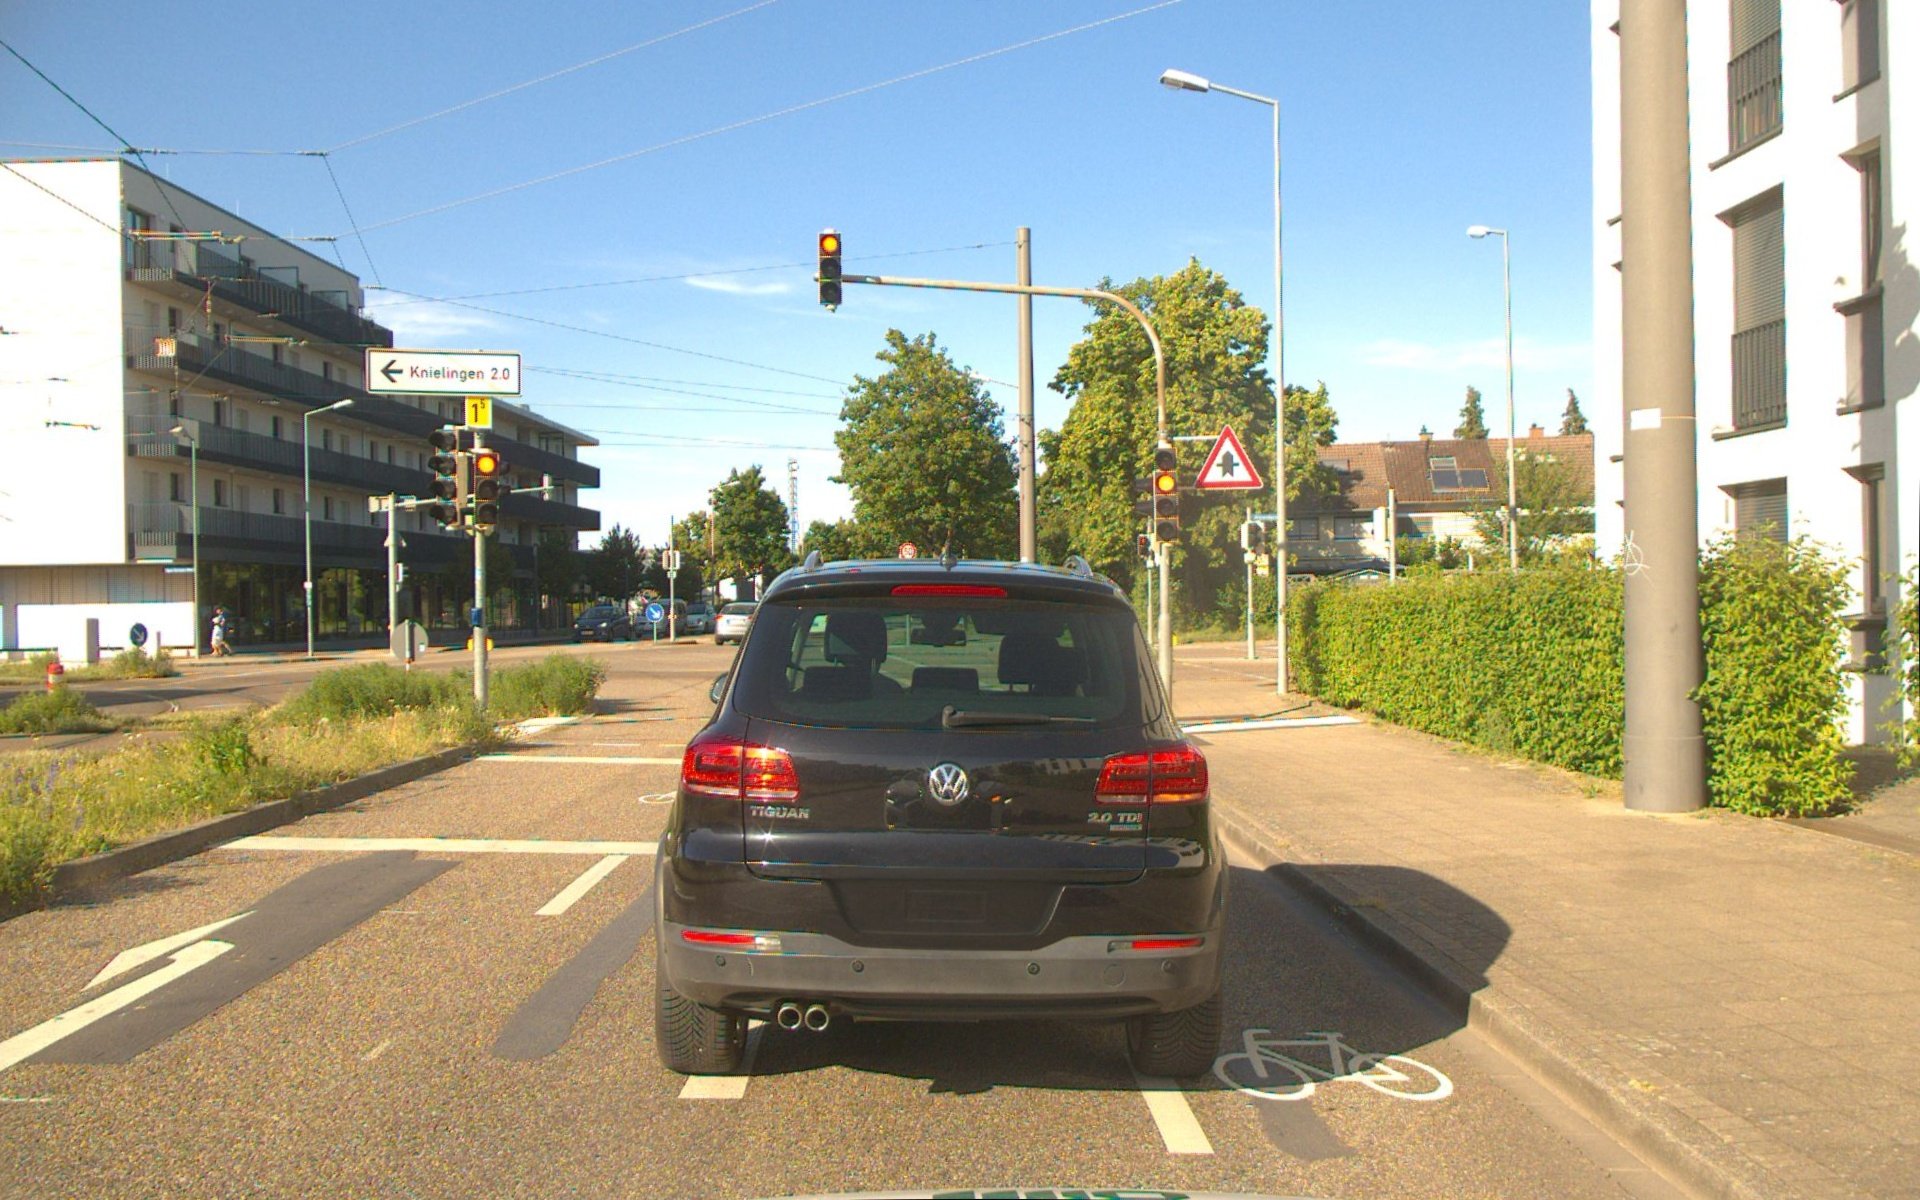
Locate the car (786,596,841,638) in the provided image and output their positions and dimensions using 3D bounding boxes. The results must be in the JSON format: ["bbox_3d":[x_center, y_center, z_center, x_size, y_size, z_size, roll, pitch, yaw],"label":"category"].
[{"bbox_3d":[-6.494,0.733,73.525,1.824,1.750,3.689,-1,0,5],"label":"car"}]

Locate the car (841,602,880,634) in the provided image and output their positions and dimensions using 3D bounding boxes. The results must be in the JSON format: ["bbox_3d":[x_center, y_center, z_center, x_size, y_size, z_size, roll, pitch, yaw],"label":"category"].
[{"bbox_3d":[-5.936,1.072,99.128,1.952,1.869,4.001,1,0,2],"label":"car"}]

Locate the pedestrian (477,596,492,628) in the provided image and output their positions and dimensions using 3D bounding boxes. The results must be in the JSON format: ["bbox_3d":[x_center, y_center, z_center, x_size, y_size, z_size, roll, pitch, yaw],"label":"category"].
[{"bbox_3d":[-23.363,0.601,81.279,0.631,1.535,0.594,1,-1,-10],"label":"pedestrian"}]

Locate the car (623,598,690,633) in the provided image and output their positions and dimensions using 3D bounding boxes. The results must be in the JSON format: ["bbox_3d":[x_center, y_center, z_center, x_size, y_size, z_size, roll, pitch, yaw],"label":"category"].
[{"bbox_3d":[-14.515,0.725,79.324,1.951,1.601,4.342,1,0,7],"label":"car"}]

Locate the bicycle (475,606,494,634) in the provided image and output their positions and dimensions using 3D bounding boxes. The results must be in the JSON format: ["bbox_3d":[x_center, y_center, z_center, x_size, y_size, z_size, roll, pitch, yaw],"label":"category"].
[{"bbox_3d":[-23.346,0.963,81.224,0.618,1.355,1.908,1,0,-9],"label":"bicycle"}]

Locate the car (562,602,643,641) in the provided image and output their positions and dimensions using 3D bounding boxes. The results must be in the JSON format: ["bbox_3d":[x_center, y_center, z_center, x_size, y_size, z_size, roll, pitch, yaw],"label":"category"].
[{"bbox_3d":[-15.343,0.921,71.178,1.951,1.601,4.343,1,0,9],"label":"car"}]

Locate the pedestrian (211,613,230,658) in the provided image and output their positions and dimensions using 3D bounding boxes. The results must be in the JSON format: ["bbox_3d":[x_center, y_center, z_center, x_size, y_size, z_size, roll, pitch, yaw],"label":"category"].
[{"bbox_3d":[-25.271,1.198,56.516,0.433,1.529,0.517,1,-1,-6],"label":"pedestrian"}]

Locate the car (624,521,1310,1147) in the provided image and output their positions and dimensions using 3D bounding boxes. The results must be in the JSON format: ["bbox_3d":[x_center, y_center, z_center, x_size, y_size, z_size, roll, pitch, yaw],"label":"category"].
[{"bbox_3d":[-0.005,0.643,6.471,1.831,1.666,3.999,1,0,-1],"label":"car"}]

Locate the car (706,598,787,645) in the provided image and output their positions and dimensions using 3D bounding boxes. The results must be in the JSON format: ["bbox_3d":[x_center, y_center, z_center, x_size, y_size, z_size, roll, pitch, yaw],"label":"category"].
[{"bbox_3d":[-7.328,0.711,57.084,1.824,1.511,4.113,-1,0,7],"label":"car"}]

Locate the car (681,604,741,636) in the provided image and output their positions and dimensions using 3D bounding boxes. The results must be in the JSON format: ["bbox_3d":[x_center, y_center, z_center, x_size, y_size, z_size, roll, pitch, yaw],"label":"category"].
[{"bbox_3d":[-12.886,1.008,85.868,1.951,1.601,4.342,1,0,7],"label":"car"}]

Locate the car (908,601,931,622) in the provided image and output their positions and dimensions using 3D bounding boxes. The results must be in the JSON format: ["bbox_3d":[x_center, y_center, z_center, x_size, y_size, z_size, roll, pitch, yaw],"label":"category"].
[{"bbox_3d":[-3.498,0.994,143.260,1.953,1.713,3.998,1,0,-2],"label":"car"}]

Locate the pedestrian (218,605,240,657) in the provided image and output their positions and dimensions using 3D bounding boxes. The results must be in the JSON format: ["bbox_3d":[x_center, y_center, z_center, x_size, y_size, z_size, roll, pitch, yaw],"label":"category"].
[{"bbox_3d":[-25.278,1.071,57.201,0.532,1.774,0.517,1,-1,-6],"label":"pedestrian"}]
